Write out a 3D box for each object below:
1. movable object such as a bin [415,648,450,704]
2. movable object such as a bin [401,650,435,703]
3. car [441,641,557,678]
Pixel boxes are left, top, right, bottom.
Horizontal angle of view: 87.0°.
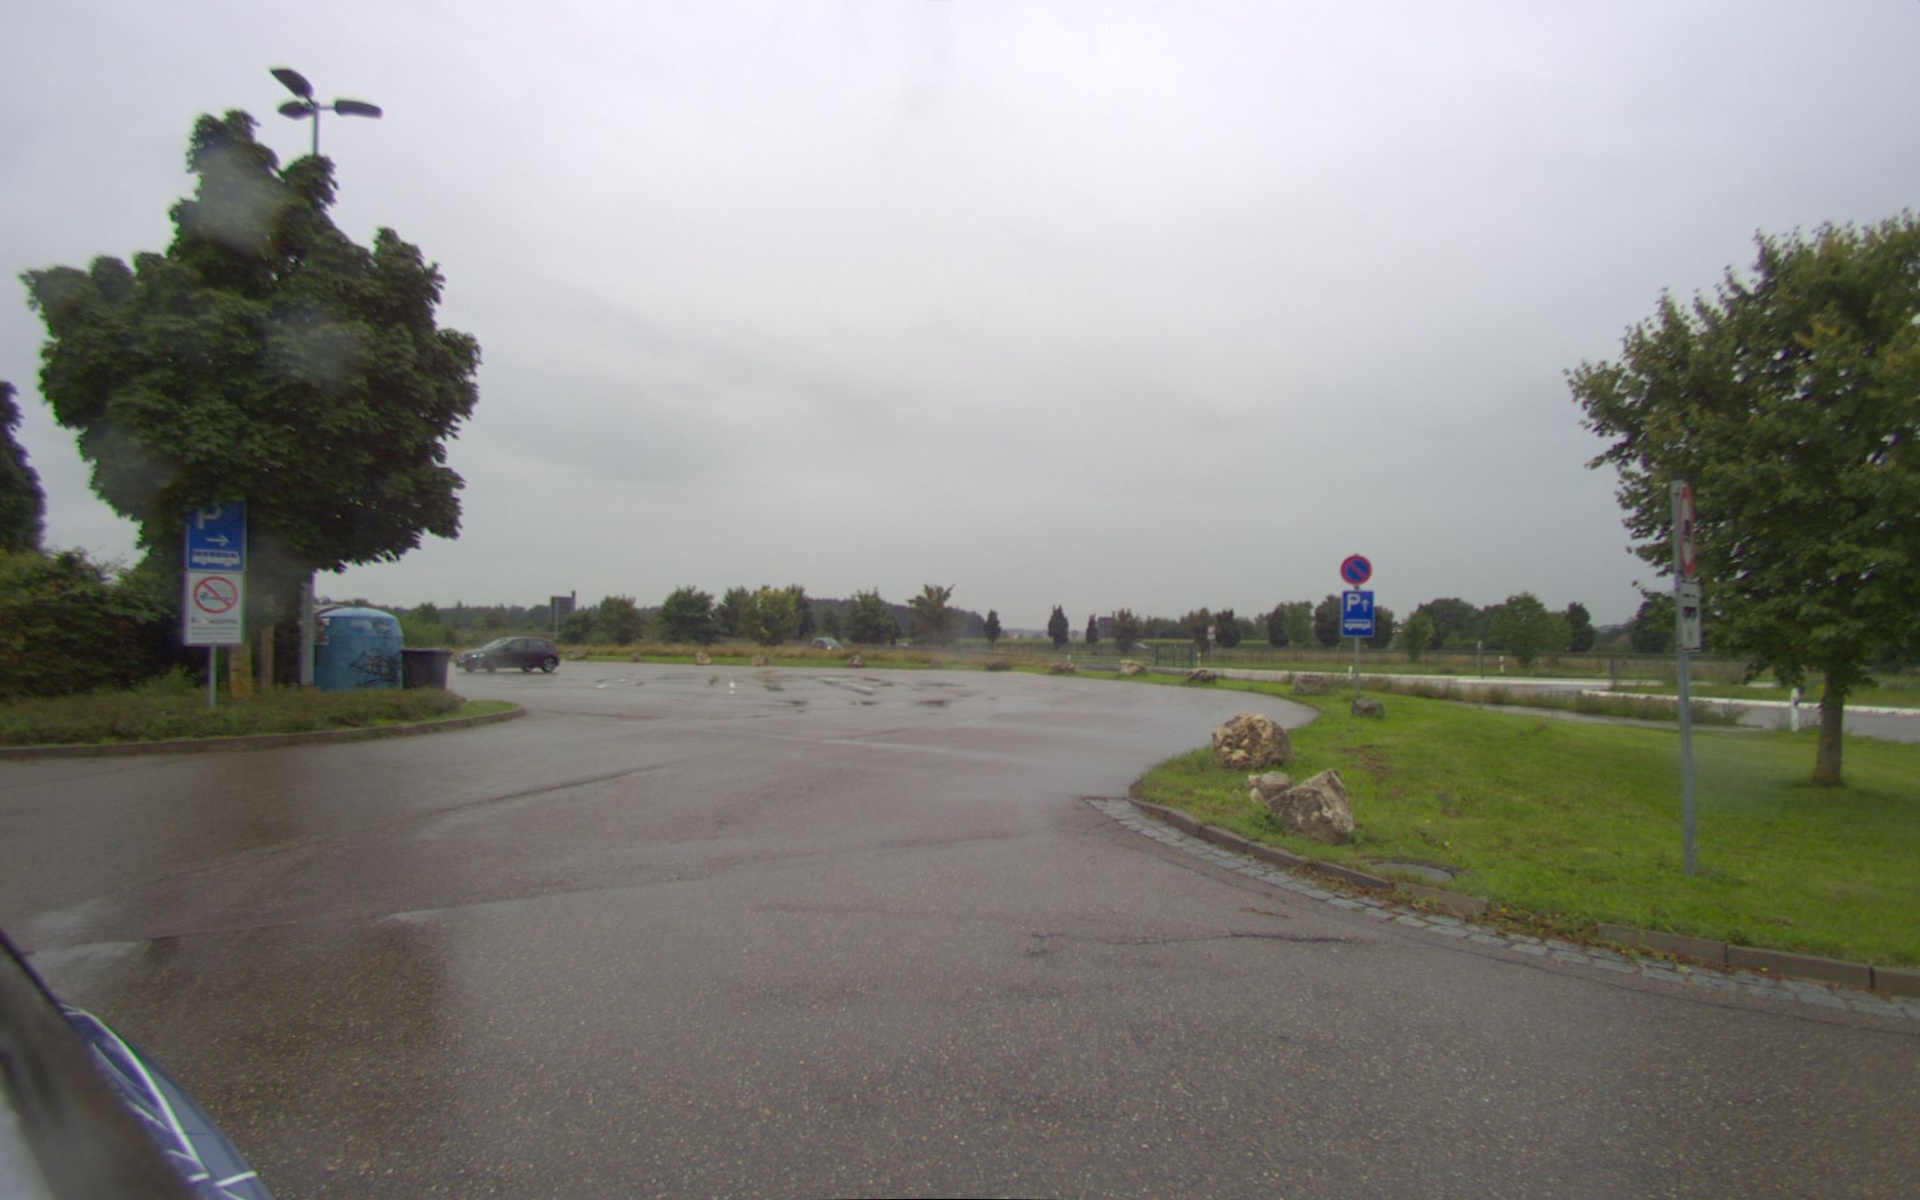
[{"bbox_3d":[-9.216,1.321,17.679,0.442,0.946,0.490,3,-4,-37],"label":"movable object such as a bin"},{"bbox_3d":[-9.656,1.348,18.017,0.442,0.924,0.490,3,-4,-37],"label":"movable object such as a bin"},{"bbox_3d":[-19.135,2.478,42.121,1.777,1.444,4.025,-2,-4,39],"label":"car"}]
